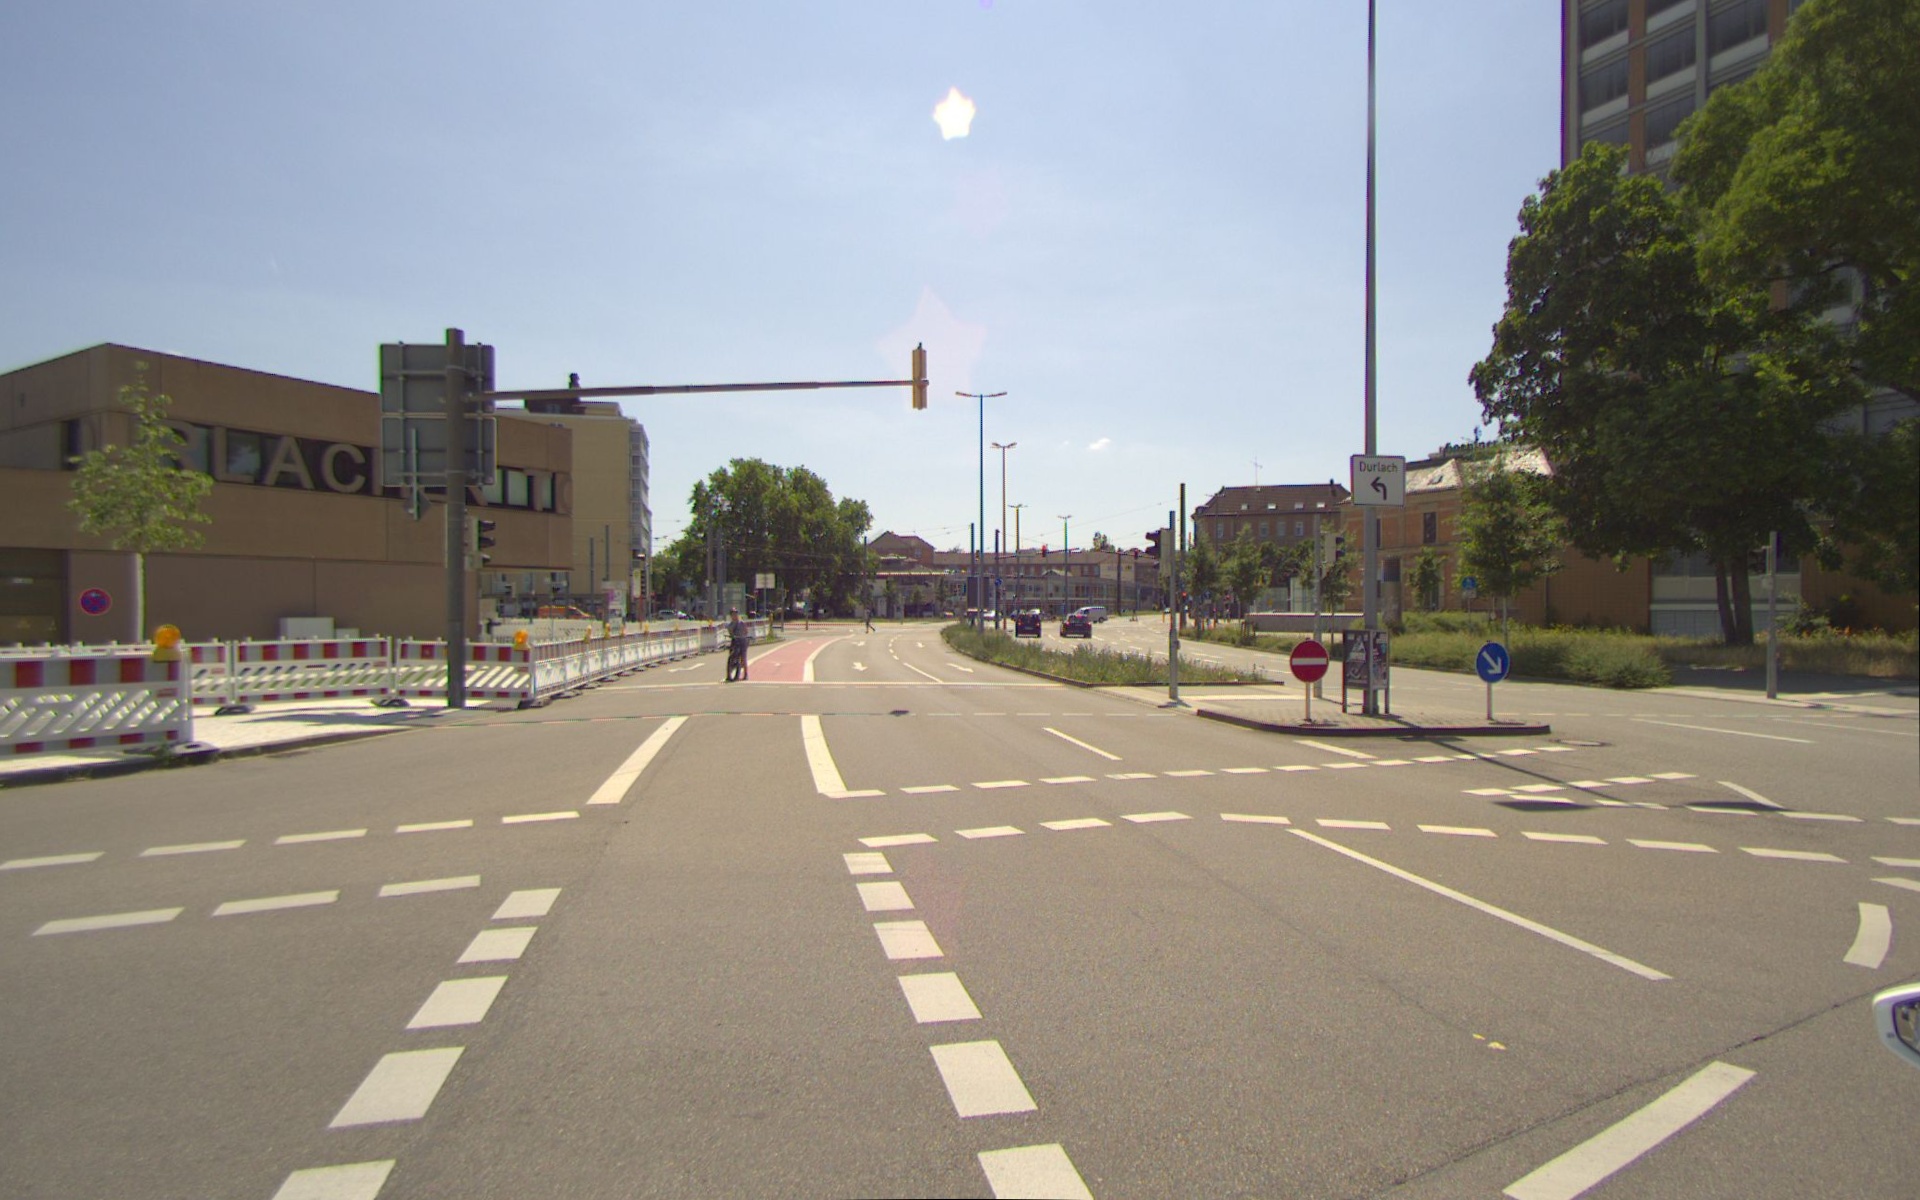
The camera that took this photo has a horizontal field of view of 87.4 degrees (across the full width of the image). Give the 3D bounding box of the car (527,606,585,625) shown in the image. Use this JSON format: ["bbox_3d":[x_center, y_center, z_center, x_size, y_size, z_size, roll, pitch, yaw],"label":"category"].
[{"bbox_3d":[-36.437,1.386,90.673,4.556,1.635,1.672,0,2,-12],"label":"car"}]

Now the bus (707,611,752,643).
[{"bbox_3d":[-11.362,1.294,49.784,1.224,1.266,5.816,1,2,-3],"label":"bus"}]

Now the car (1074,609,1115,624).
[{"bbox_3d":[15.245,1.832,113.845,4.250,1.649,1.808,0,2,-17],"label":"car"}]

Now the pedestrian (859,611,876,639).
[{"bbox_3d":[-6.717,1.821,73.131,1.160,1.959,0.902,1,2,-3],"label":"pedestrian"}]

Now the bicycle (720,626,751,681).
[{"bbox_3d":[-5.069,1.186,22.758,0.514,1.196,1.896,0,-1,-8],"label":"bicycle"}]

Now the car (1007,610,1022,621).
[{"bbox_3d":[7.607,2.164,141.019,1.407,1.303,3.262,1,2,16],"label":"car"}]

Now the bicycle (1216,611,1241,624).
[{"bbox_3d":[32.478,2.094,121.493,2.778,1.483,0.634,1,2,1],"label":"bicycle"}]

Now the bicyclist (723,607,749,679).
[{"bbox_3d":[-5.075,0.971,22.730,0.521,1.600,0.498,0,-1,-8],"label":"bicyclist"}]

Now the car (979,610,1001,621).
[{"bbox_3d":[3.920,1.932,129.281,1.593,1.409,4.124,0,0,20],"label":"car"}]

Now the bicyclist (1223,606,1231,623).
[{"bbox_3d":[32.322,1.720,121.476,0.750,1.964,0.660,1,2,2],"label":"bicyclist"}]

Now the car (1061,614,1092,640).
[{"bbox_3d":[7.474,1.716,64.718,1.688,1.577,4.588,0,-1,3],"label":"car"}]

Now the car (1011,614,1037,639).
[{"bbox_3d":[3.996,1.620,63.037,1.594,1.483,4.001,0,-1,3],"label":"car"}]
